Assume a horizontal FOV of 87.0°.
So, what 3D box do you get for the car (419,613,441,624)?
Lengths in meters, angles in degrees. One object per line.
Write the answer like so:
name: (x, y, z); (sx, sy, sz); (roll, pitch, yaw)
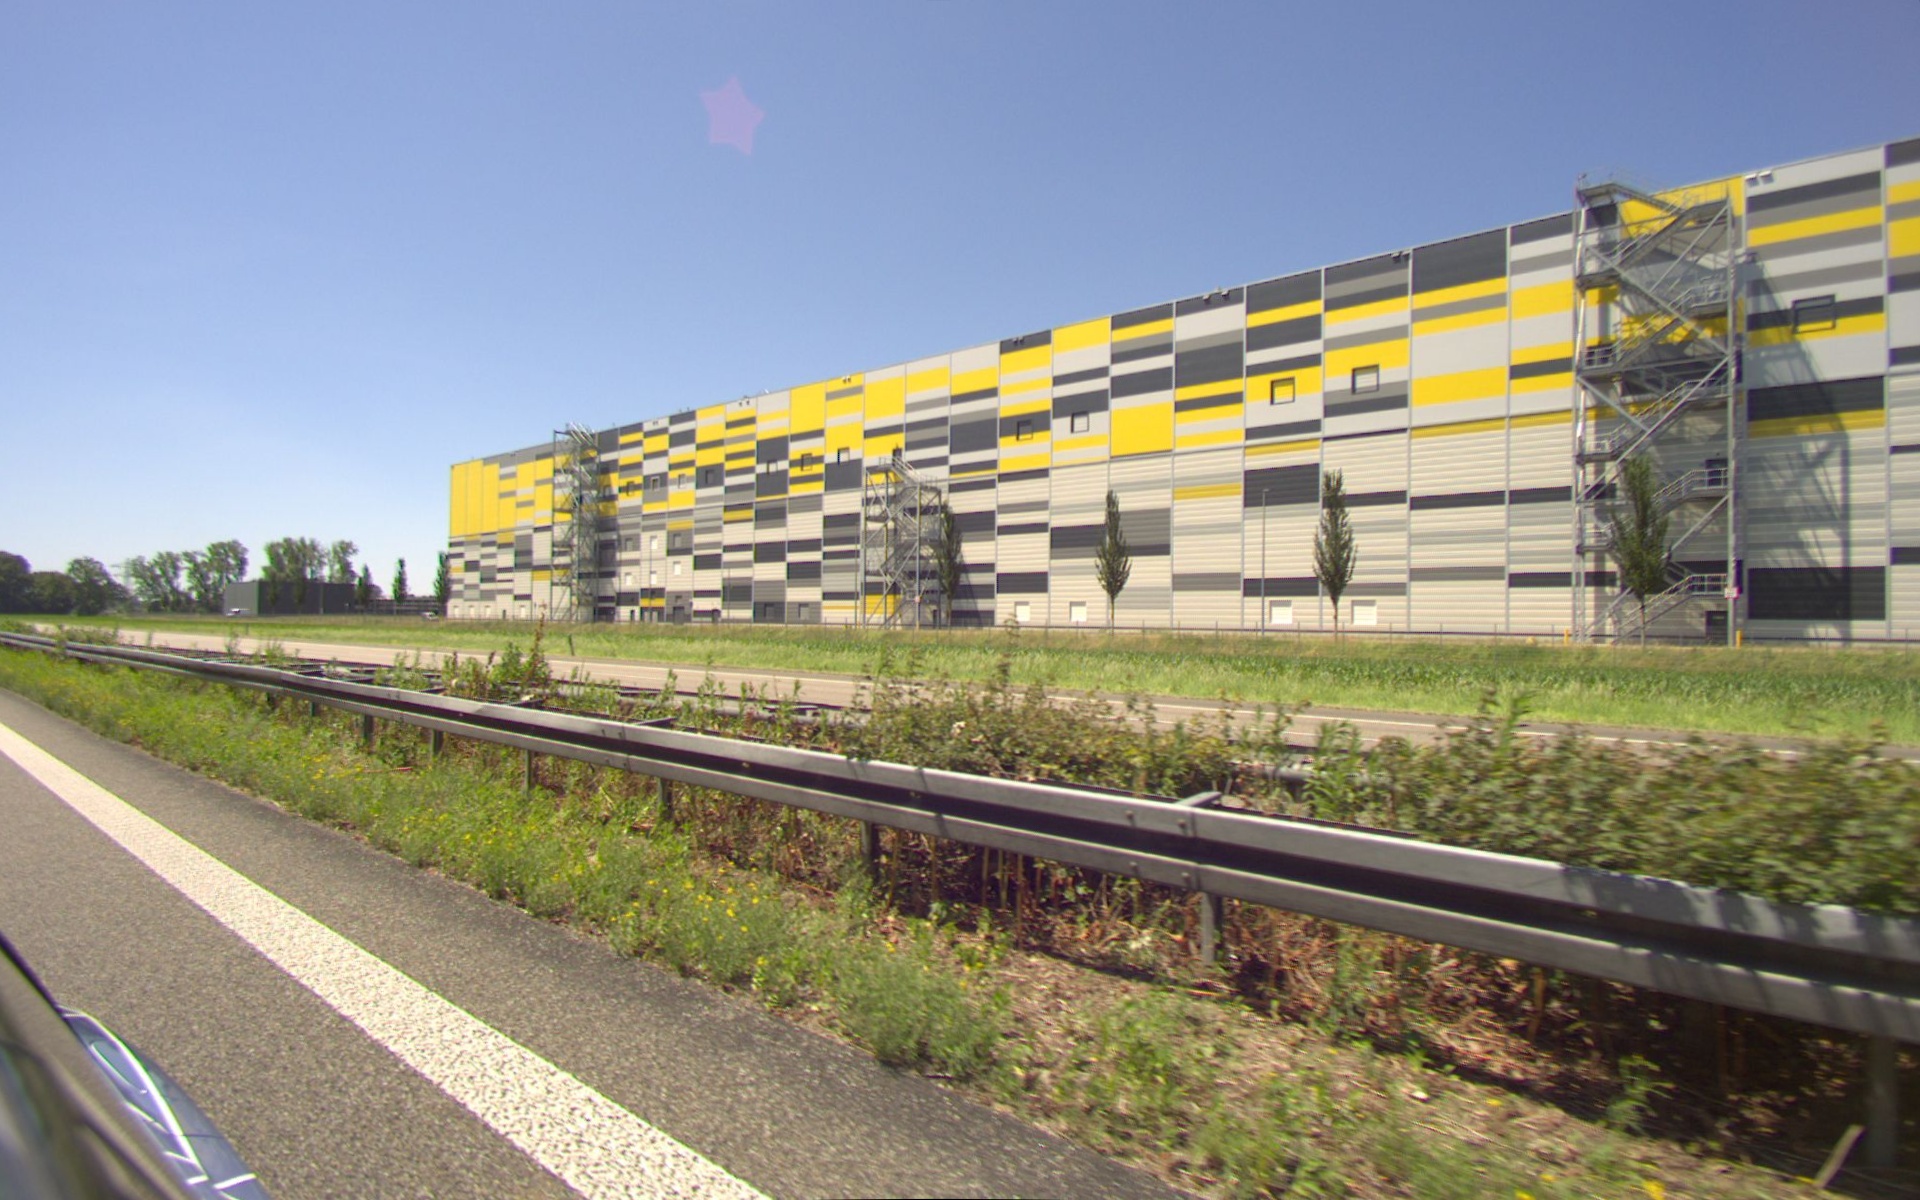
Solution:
car: (-89.179, 3.121, 170.199); (4.266, 1.750, 1.808); (-1, -2, 40)
